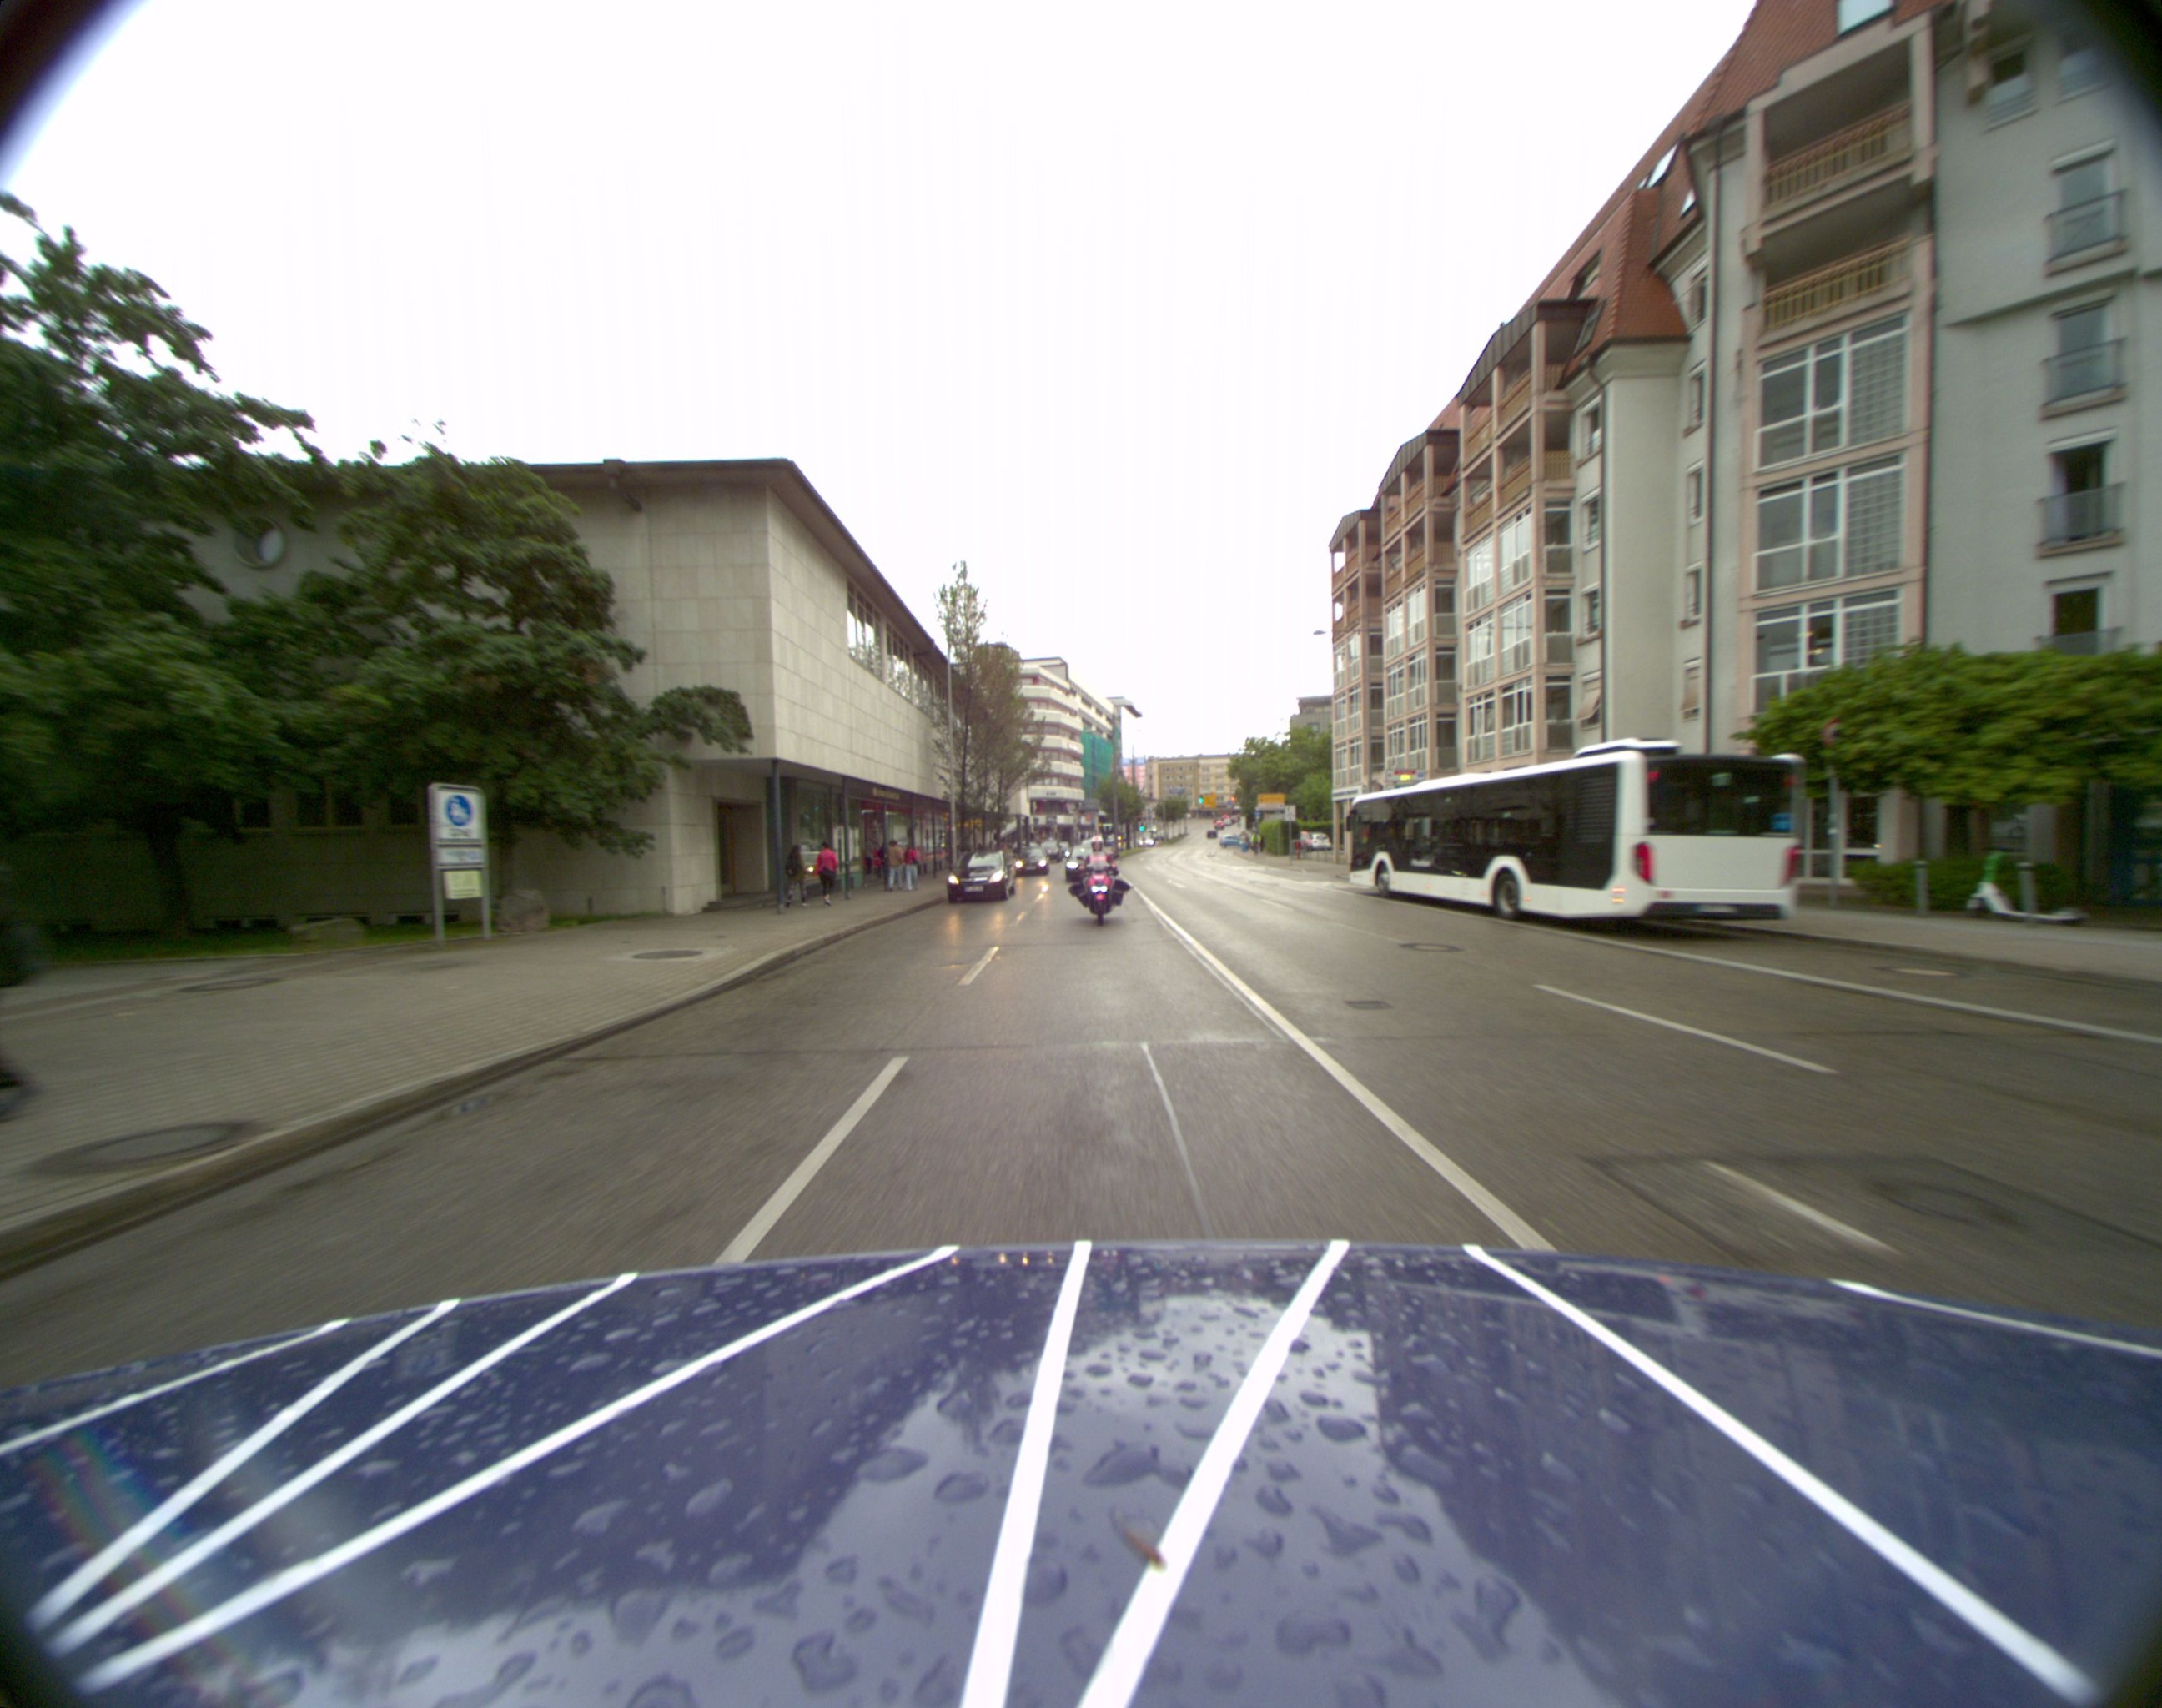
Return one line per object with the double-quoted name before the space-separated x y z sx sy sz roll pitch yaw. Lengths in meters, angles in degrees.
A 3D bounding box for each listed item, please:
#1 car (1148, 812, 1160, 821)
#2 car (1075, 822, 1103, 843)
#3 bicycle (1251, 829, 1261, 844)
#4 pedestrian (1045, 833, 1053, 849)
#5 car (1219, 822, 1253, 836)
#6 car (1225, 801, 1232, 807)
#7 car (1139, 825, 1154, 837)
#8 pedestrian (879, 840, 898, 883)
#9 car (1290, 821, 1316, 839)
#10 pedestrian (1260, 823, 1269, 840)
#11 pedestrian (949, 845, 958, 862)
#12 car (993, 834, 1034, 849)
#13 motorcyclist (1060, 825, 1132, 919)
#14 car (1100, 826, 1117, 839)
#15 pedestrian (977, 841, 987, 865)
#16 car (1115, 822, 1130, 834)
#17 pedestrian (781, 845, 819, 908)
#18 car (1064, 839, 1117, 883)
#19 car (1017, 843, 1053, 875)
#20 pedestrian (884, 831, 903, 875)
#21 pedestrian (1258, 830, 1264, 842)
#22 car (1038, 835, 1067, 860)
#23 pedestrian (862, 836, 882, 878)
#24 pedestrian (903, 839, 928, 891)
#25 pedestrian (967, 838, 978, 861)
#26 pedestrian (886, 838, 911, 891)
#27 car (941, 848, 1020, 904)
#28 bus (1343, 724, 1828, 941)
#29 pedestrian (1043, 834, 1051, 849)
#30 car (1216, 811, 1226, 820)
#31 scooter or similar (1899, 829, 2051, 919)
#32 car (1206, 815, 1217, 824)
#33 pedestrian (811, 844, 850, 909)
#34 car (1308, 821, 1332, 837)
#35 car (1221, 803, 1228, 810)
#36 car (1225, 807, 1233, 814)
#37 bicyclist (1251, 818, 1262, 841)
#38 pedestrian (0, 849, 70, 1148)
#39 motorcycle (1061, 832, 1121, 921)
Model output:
"car" 14.830 -7.658 154.142 1.830 1.728 4.000 0 6 14
"car" 0.737 -1.881 65.675 1.630 1.732 3.602 0 2 14
"bicycle" 14.476 -1.461 62.947 0.651 1.104 2.058 -1 3 10
"pedestrian" -3.757 -1.496 89.902 0.623 1.837 0.848 -1 5 19
"car" 18.445 -2.968 90.311 3.682 1.465 1.704 -3 -1 19
"car" 38.095 -12.810 195.920 1.716 1.471 3.958 1 5 12
"car" 8.643 -3.087 100.155 1.769 1.402 3.998 -3 4 3
"pedestrian" -7.814 0.311 30.806 0.537 1.709 0.534 -1 3 9
"car" 19.716 -2.178 67.576 1.598 1.530 3.601 -1 2 7
"pedestrian" 16.852 -2.079 69.839 0.716 1.551 0.565 -1 3 4
"pedestrian" -8.347 -0.030 49.737 0.431 1.130 0.508 -2 3 -35
"car" -7.501 -1.360 84.122 3.989 1.469 2.003 0 4 32
"motorcyclist" 0.306 0.330 14.674 1.295 1.757 0.846 -1 2 5
"car" 4.177 -3.282 114.810 1.830 1.728 4.000 0 6 14
"pedestrian" -6.772 -0.071 51.756 0.429 1.558 0.510 1 3 35
"car" 7.189 -4.458 131.171 1.830 1.728 4.000 0 6 14
"pedestrian" -7.221 0.559 19.547 0.727 1.581 0.606 0 3 0
"car" 0.443 0.217 30.798 1.937 1.511 4.467 -2 2 2
"car" -2.328 0.212 39.203 1.596 1.433 3.626 -2 2 0
"pedestrian" -7.836 -0.039 31.755 0.537 1.810 0.534 -1 3 9
"pedestrian" 16.708 -1.672 70.474 0.469 1.144 0.501 -1 3 4
"car" -2.203 -0.532 59.132 1.735 1.669 4.248 -3 3 4
"pedestrian" -8.551 0.116 31.081 0.537 1.709 0.535 -1 3 11
"pedestrian" -5.709 0.357 26.275 0.655 1.757 0.922 0 3 0
"pedestrian" -7.294 -0.312 51.100 0.510 1.558 0.429 -3 4 -43
"pedestrian" -6.297 0.358 26.299 0.700 1.792 0.606 0 3 0
"car" -2.919 0.593 22.838 1.712 1.449 3.742 -2 2 2
"bus" 9.360 -0.418 17.029 2.751 3.058 12.233 -1 1 0
"pedestrian" -4.061 -1.462 89.913 0.623 1.765 0.677 -1 6 19
"car" 29.004 -8.005 157.415 1.830 1.727 4.312 0 4 12
"scooter or similar" 14.477 0.281 12.369 0.483 1.307 1.570 -1 4 -3
"car" 22.476 -5.984 130.875 1.760 1.413 4.097 1 4 9
"pedestrian" -6.428 0.556 19.527 0.719 1.611 0.769 0 3 0
"car" 22.696 -2.390 72.321 1.598 1.530 3.601 -1 2 7
"car" 34.269 -11.427 181.457 1.625 1.547 3.661 -1 3 11
"car" 33.484 -9.802 171.962 1.674 1.507 3.644 1 4 13
"bicyclist" 14.497 -2.062 62.873 0.793 1.880 0.954 -1 3 9
"pedestrian" -6.313 0.802 4.193 0.641 1.655 0.563 0 1 0
"motorcycle" 0.247 0.337 14.146 0.831 1.479 2.866 0 2 6
